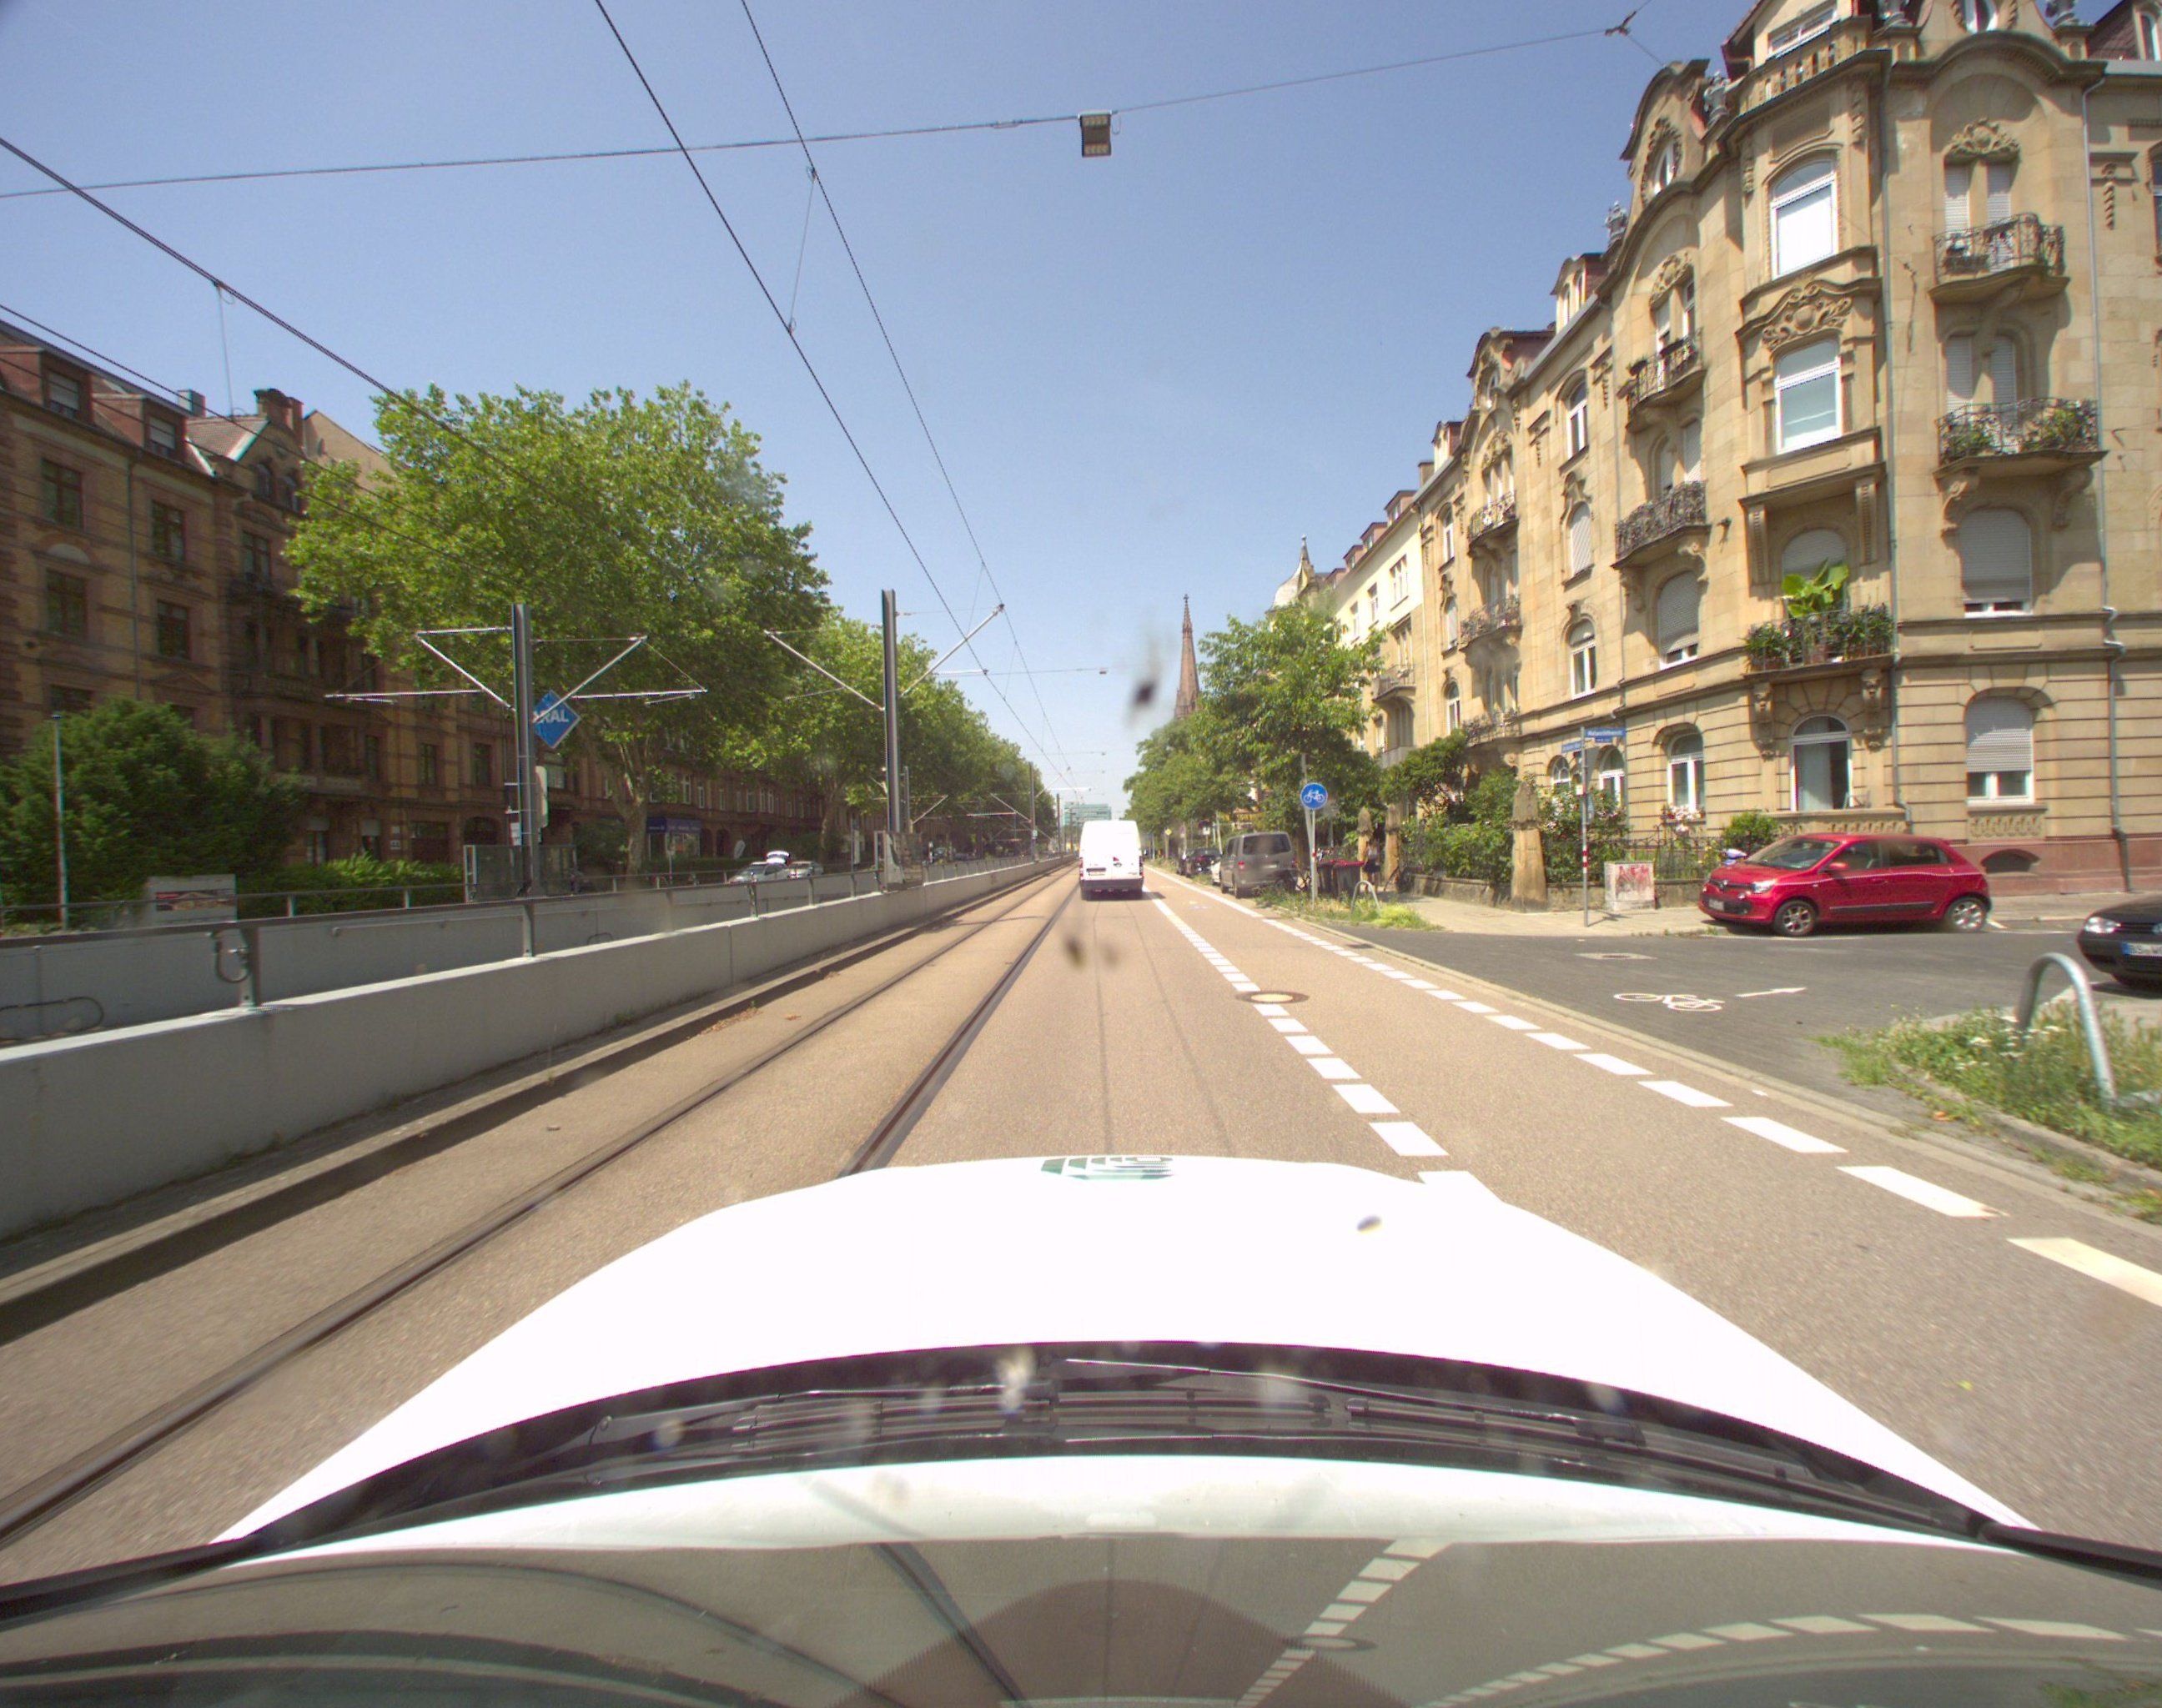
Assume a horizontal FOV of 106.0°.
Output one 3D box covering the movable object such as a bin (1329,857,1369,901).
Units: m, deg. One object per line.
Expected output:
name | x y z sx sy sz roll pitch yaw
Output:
movable object such as a bin | 6.488 0.597 19.727 0.783 1.014 0.651 -2 0 7

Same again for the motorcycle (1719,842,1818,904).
motorcycle | 13.518 0.365 16.032 1.497 1.163 0.469 -2 0 3

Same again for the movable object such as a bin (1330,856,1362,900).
movable object such as a bin | 6.631 0.604 20.419 0.665 1.062 0.497 -1 0 7

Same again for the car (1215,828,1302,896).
car | 5.669 0.231 26.651 1.872 1.947 4.838 -2 0 2

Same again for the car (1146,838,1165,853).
car | 8.759 -0.972 96.046 2.147 1.670 4.004 -1 0 4

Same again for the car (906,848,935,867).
car | -16.513 0.317 83.960 1.987 1.904 4.149 -1 0 1

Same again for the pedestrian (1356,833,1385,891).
pedestrian | 8.184 0.214 23.048 0.549 1.598 0.728 -1 0 4

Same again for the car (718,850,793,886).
car | -15.736 0.637 39.578 1.534 1.561 3.890 -1 0 10

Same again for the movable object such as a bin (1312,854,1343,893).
movable object such as a bin | 6.591 0.516 21.785 0.595 1.011 0.564 -2 0 -8

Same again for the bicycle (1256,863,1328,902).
bicycle | 5.835 0.774 22.514 1.880 0.991 0.469 -2 0 -9

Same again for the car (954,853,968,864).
car | -16.206 0.569 110.058 1.368 1.423 3.090 -2 0 2

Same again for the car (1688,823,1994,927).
car | 12.249 0.327 13.296 3.437 1.491 1.556 -2 0 3

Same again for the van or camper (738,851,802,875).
van or camper | -26.058 0.765 68.340 4.519 1.836 1.936 -2 0 7

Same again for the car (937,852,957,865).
car | -16.735 0.535 101.788 1.586 1.448 4.002 -1 0 2

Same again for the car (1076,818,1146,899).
car | 0.956 0.109 27.661 2.110 2.459 5.055 -1 0 1

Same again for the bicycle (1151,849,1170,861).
bicycle | 8.410 0.088 85.840 1.881 1.182 0.640 -2 0 -1

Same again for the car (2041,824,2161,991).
car | 11.720 0.396 7.333 4.169 1.491 1.672 -2 -2 -1

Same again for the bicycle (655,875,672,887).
bicycle | -24.478 1.557 47.768 0.279 0.650 1.344 -2 0 0

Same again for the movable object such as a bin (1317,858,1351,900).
movable object such as a bin | 6.539 0.639 21.040 0.742 1.062 0.497 -1 0 7

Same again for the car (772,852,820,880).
car | -18.029 0.720 51.624 1.648 1.684 3.708 -1 0 1

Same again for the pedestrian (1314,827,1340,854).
pedestrian | 10.211 -0.566 33.877 0.861 1.070 0.762 -2 0 5

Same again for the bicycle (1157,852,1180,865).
bicycle | 7.080 0.339 66.092 1.834 0.953 0.503 -2 0 3

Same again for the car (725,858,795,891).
car | -18.111 1.113 46.183 1.987 1.624 4.719 -1 0 1

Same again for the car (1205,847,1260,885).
car | 6.105 0.448 33.207 1.605 1.405 4.002 -2 1 2

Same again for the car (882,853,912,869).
car | -17.688 0.631 78.287 1.845 1.401 4.198 -1 0 1

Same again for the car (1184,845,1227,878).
car | 6.221 0.347 41.033 1.661 1.530 4.015 -2 1 2

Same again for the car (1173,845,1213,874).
car | 6.384 0.294 46.674 1.723 1.536 4.405 -1 0 1
